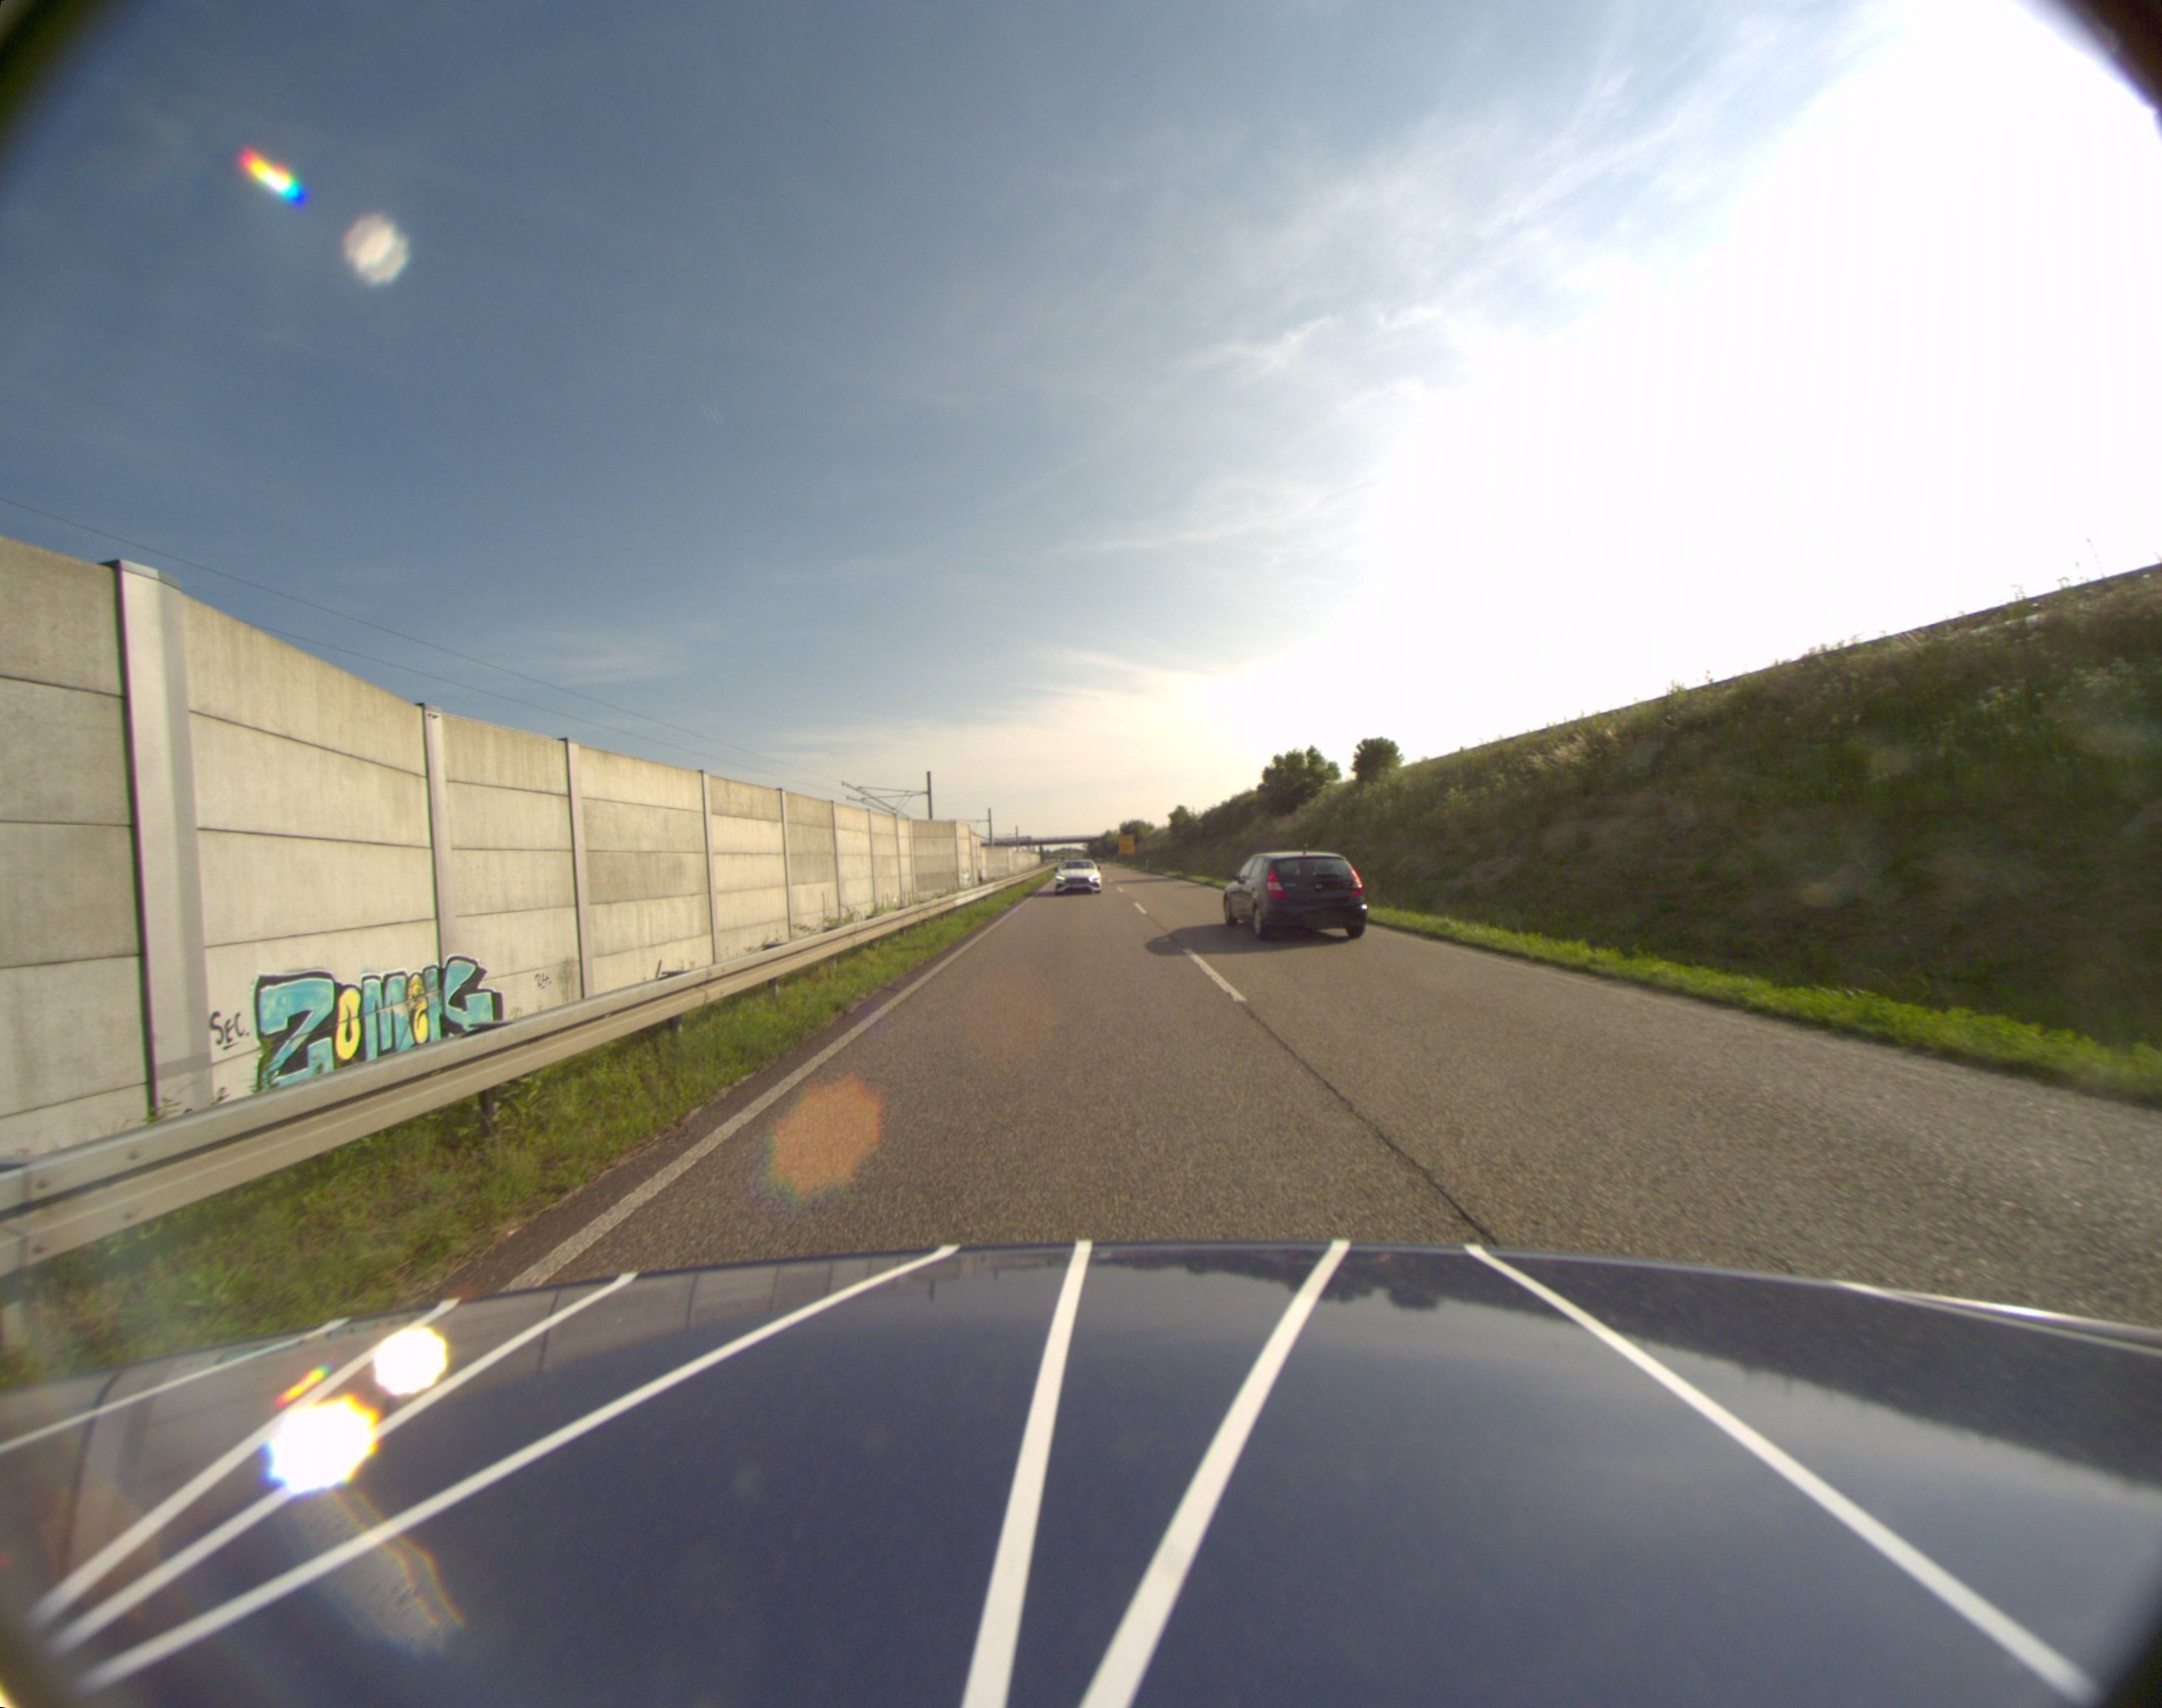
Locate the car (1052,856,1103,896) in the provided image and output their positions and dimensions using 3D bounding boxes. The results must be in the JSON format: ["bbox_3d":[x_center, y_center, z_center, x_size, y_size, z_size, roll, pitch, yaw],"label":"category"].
[{"bbox_3d":[-0.067,0.884,32.250,1.930,1.399,4.974,-3,0,1],"label":"car"}]

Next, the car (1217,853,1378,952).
[{"bbox_3d":[3.714,0.749,13.764,1.721,1.445,4.018,-2,0,0],"label":"car"}]
